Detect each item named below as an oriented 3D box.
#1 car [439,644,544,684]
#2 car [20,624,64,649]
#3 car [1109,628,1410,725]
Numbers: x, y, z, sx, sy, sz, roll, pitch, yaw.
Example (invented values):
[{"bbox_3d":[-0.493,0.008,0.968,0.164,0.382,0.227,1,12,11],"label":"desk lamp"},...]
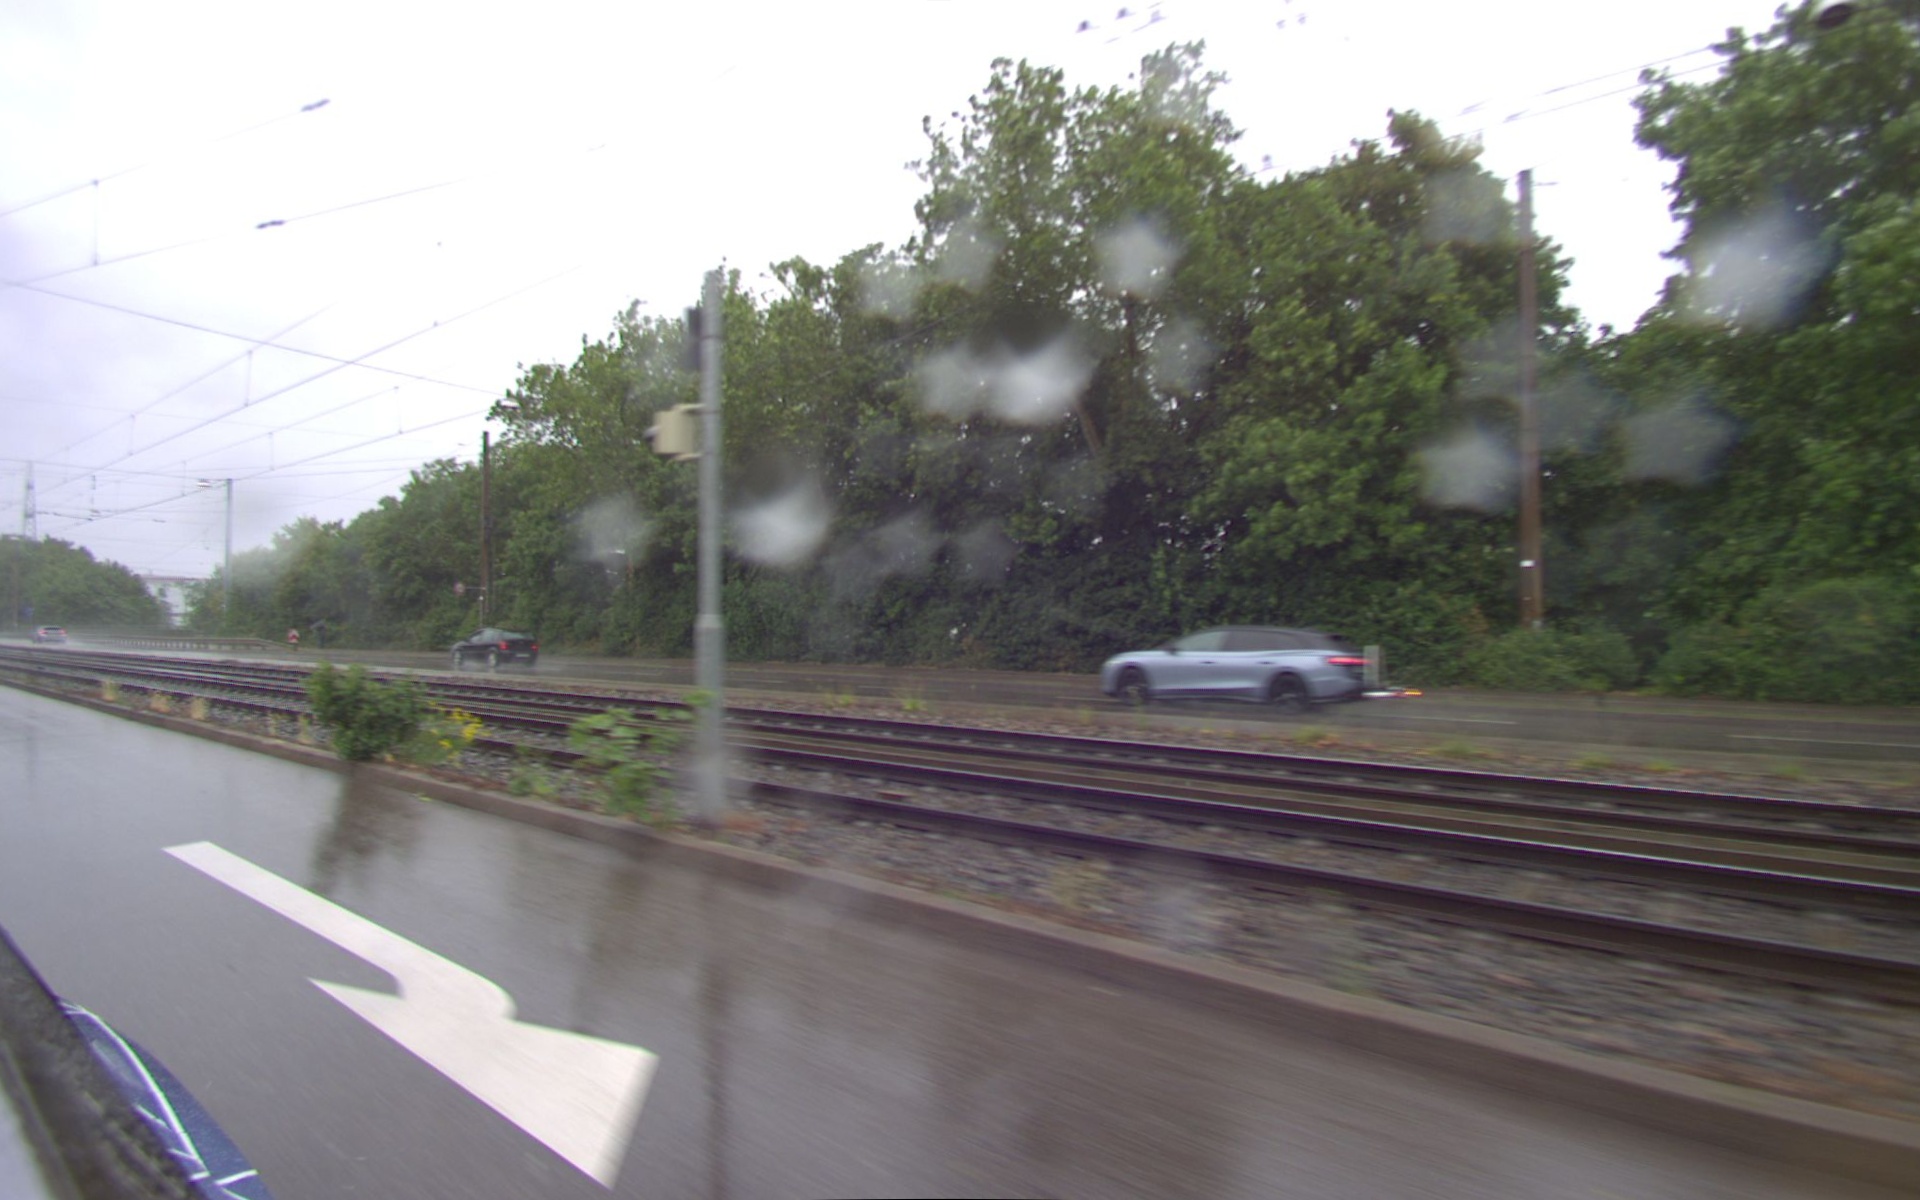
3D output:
[{"bbox_3d":[-17.401,2.324,37.517,4.374,1.340,1.754,-2,-2,39],"label":"car"},{"bbox_3d":[-74.120,2.919,81.722,3.996,1.796,1.975,-2,2,39],"label":"car"},{"bbox_3d":[5.270,1.281,18.277,4.949,1.535,1.674,-2,-2,38],"label":"car"}]
